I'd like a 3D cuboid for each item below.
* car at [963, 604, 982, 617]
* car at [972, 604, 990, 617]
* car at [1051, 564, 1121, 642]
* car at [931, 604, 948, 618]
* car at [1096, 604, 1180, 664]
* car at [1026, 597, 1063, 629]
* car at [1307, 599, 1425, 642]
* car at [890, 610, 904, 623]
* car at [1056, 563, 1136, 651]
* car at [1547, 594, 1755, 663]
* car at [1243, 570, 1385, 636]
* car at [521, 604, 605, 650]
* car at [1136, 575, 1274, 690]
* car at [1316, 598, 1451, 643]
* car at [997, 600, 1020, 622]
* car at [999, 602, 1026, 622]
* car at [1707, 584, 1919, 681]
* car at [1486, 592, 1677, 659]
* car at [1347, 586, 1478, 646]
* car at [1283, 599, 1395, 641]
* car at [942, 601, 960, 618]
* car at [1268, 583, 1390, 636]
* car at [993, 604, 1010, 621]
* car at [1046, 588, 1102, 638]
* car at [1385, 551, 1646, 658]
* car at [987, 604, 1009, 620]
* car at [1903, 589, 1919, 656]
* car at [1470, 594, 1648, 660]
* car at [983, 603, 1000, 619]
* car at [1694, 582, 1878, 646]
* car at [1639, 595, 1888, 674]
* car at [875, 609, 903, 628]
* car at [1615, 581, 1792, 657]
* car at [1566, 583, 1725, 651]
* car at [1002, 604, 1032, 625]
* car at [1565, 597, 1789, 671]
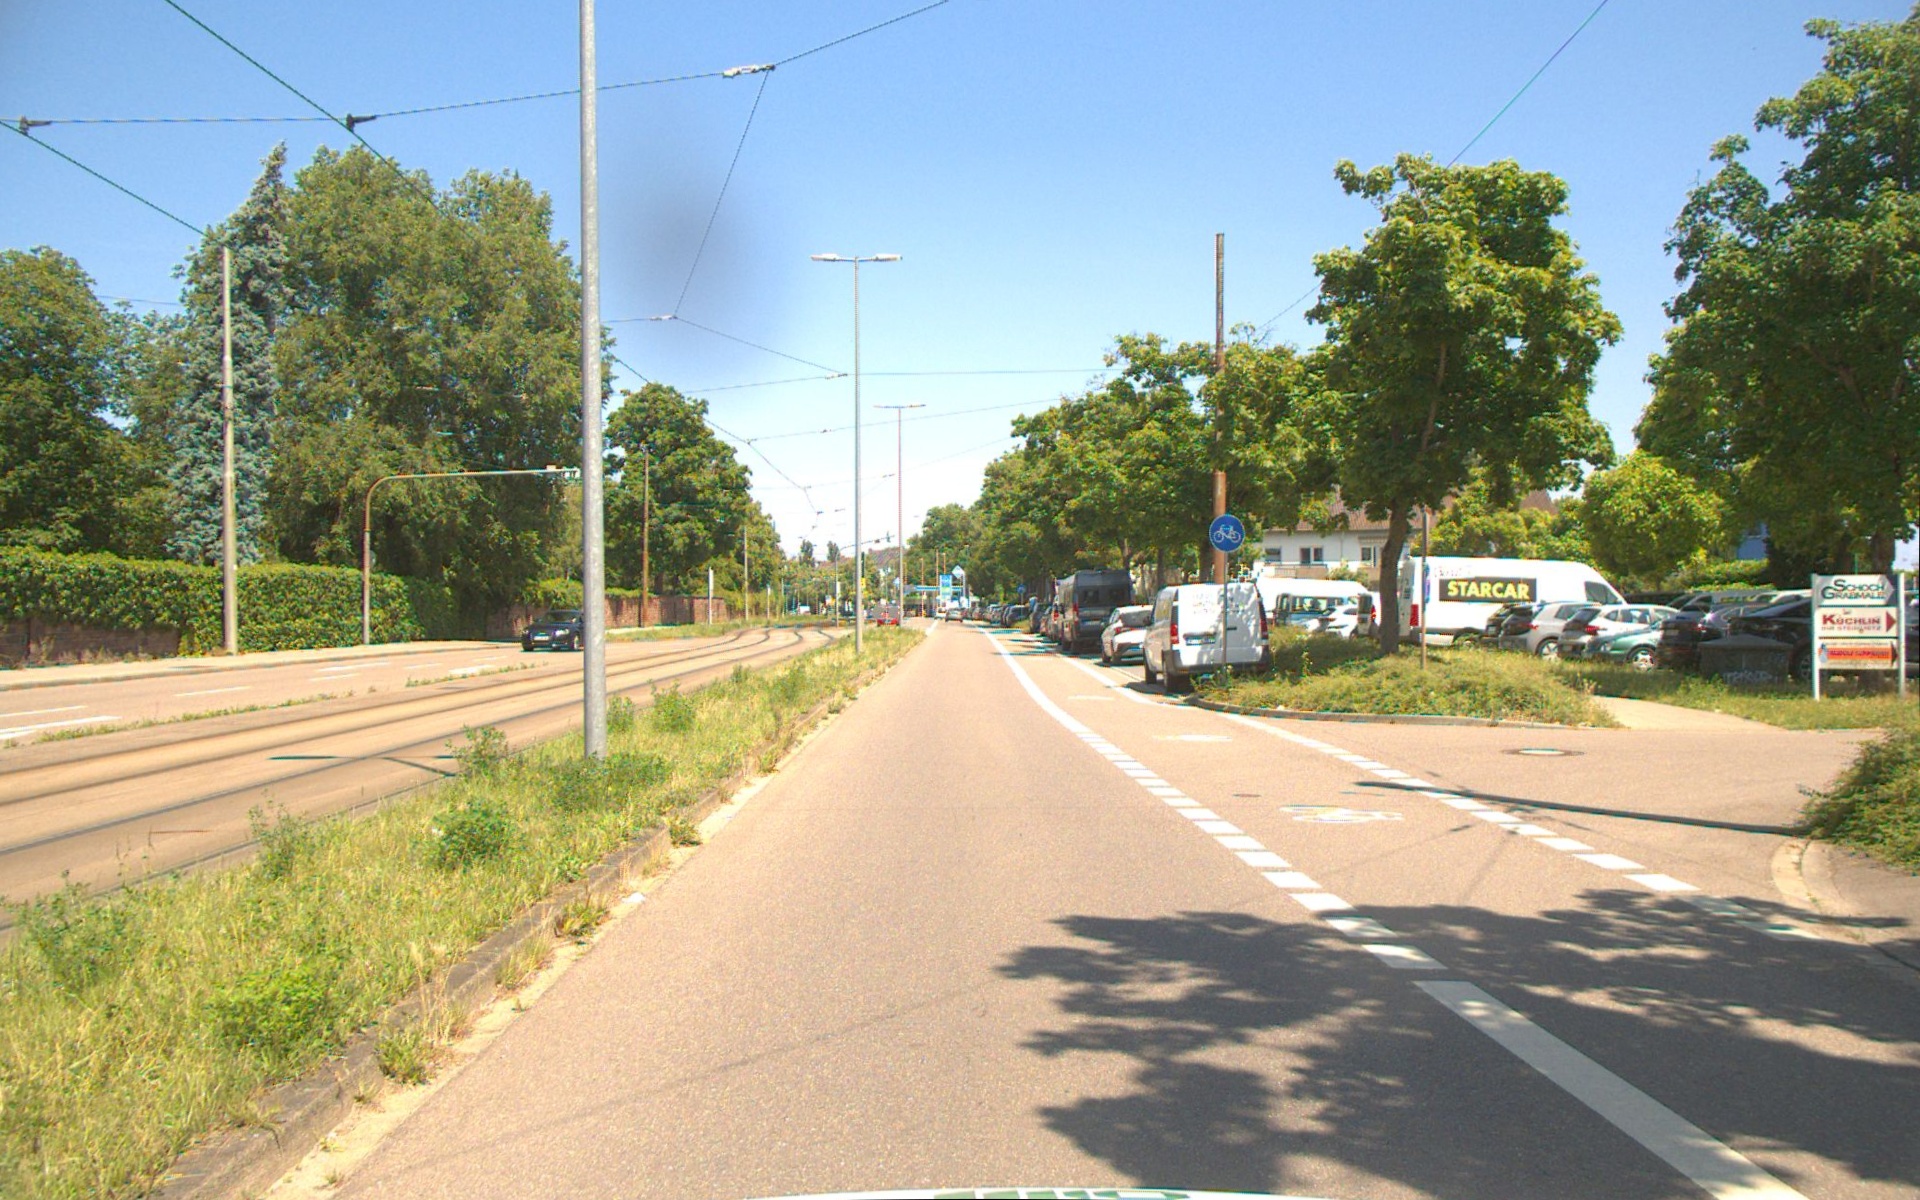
[{"bbox_3d":[1.642,1.391,216.364,1.676,1.589,4.314,-3,0,-10],"label":"car"},{"bbox_3d":[2.616,1.340,205.198,1.673,1.518,5.033,-3,0,-4],"label":"car"},{"bbox_3d":[4.628,0.101,61.749,1.957,2.682,6.142,-2,0,-1],"label":"car"},{"bbox_3d":[-2.649,1.449,213.052,1.723,1.659,4.316,-3,0,-8],"label":"car"},{"bbox_3d":[4.640,0.858,43.539,1.687,1.453,4.209,-2,0,0],"label":"car"},{"bbox_3d":[4.602,0.717,91.047,1.677,1.661,4.707,-3,-1,-1],"label":"car"},{"bbox_3d":[14.848,0.734,60.590,3.809,1.430,1.727,2,0,-3],"label":"car"},{"bbox_3d":[-10.015,2.633,262.033,1.955,2.049,3.995,2,-1,-5],"label":"car"},{"bbox_3d":[4.437,0.213,54.810,1.957,2.682,6.077,-2,0,-1],"label":"car"},{"bbox_3d":[15.123,0.613,36.317,3.808,1.348,1.727,2,0,-2],"label":"car"},{"bbox_3d":[14.684,0.115,68.815,5.378,2.502,2.095,2,0,0],"label":"car"},{"bbox_3d":[-13.304,0.879,55.642,1.719,1.474,4.123,2,0,1],"label":"car"},{"bbox_3d":[4.600,0.570,31.786,1.841,1.950,5.124,-3,0,0],"label":"car"},{"bbox_3d":[14.752,0.707,57.731,4.191,1.430,1.727,2,0,-3],"label":"car"},{"bbox_3d":[4.108,0.937,140.279,1.803,1.736,4.626,-3,0,1],"label":"car"},{"bbox_3d":[4.247,0.967,134.644,1.804,1.556,4.351,-3,0,-3],"label":"car"},{"bbox_3d":[15.318,0.572,28.506,4.114,1.516,1.678,2,0,-2],"label":"car"},{"bbox_3d":[14.540,0.587,38.769,3.812,1.404,1.725,2,0,-7],"label":"car"},{"bbox_3d":[14.986,0.529,54.862,3.705,1.815,1.952,2,0,-5],"label":"car"},{"bbox_3d":[14.390,0.753,62.906,3.810,1.430,1.726,2,0,-5],"label":"car"},{"bbox_3d":[-0.885,0.924,167.787,1.720,1.659,4.324,-3,0,0],"label":"car"},{"bbox_3d":[14.639,0.375,65.818,4.320,1.942,1.952,2,0,-5],"label":"car"},{"bbox_3d":[4.094,1.187,162.195,1.488,1.556,3.816,-3,0,0],"label":"car"},{"bbox_3d":[4.675,0.520,68.448,1.956,1.911,5.276,-3,0,1],"label":"car"},{"bbox_3d":[14.827,0.111,44.406,6.209,2.573,2.264,2,0,2],"label":"car"},{"bbox_3d":[3.820,1.219,167.199,1.804,1.556,4.962,-3,0,-3],"label":"car"},{"bbox_3d":[28.353,0.528,44.230,5.048,1.783,2.095,-2,0,0],"label":"car"},{"bbox_3d":[14.982,0.662,41.507,3.809,1.498,1.727,2,0,-3],"label":"car"},{"bbox_3d":[3.594,1.196,188.358,1.803,1.724,4.778,-3,0,0],"label":"car"},{"bbox_3d":[27.189,0.461,54.572,4.992,1.909,2.095,-2,0,0],"label":"car"},{"bbox_3d":[15.023,0.636,31.047,3.808,1.303,1.727,2,0,-2],"label":"car"},{"bbox_3d":[-5.502,1.407,128.717,1.670,1.438,4.283,0,0,4],"label":"car"},{"bbox_3d":[26.762,0.673,59.661,5.378,2.502,2.095,-2,0,0],"label":"car"},{"bbox_3d":[27.149,0.657,65.633,5.378,2.502,2.095,-2,0,0],"label":"car"},{"bbox_3d":[4.216,1.050,122.677,1.804,1.461,4.822,-3,0,-2],"label":"car"},{"bbox_3d":[14.630,0.676,33.878,3.808,1.348,1.727,2,0,-2],"label":"car"}]
